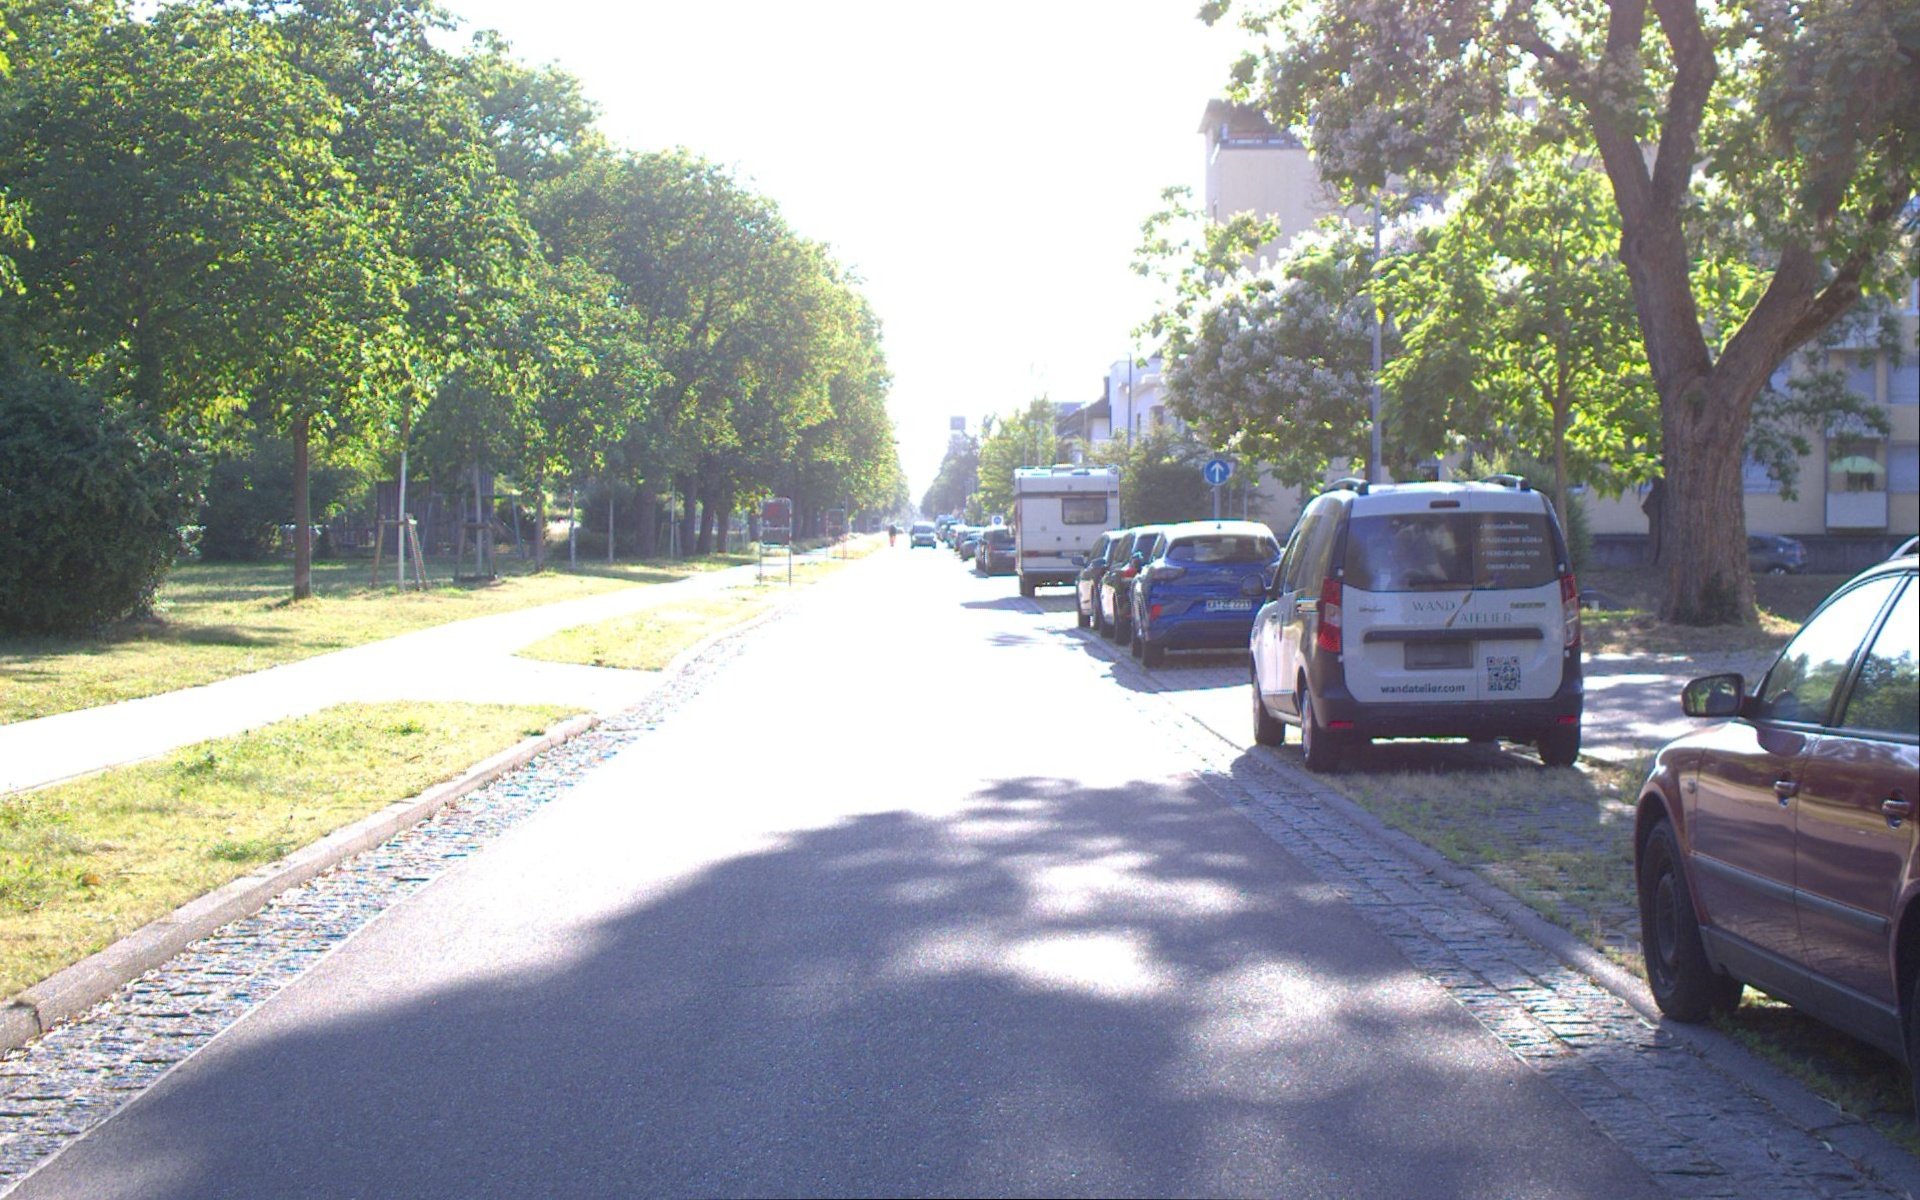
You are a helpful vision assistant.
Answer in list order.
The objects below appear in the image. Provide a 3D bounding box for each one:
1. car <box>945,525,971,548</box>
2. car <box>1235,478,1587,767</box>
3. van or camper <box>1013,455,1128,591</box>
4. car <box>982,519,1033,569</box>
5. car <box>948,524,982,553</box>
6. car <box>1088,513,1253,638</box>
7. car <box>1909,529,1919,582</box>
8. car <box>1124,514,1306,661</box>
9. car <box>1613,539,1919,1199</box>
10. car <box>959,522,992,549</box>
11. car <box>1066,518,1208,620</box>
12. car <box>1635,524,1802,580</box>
[{"bbox_3d":[-0.136,-4.045,218.538,1.626,1.405,4.250,0,1,-1],"label":"car"},{"bbox_3d":[2.890,0.098,22.909,1.678,1.734,4.514,0,1,-1],"label":"car"},{"bbox_3d":[2.390,-1.643,75.876,2.234,2.894,5.673,0,0,-1],"label":"van or camper"},{"bbox_3d":[1.604,-1.904,117.161,1.626,1.663,4.250,0,1,-1],"label":"car"},{"bbox_3d":[0.244,-3.062,170.794,1.626,1.405,4.250,0,1,-1],"label":"car"},{"bbox_3d":[2.683,-0.339,44.579,1.731,1.545,4.423,0,1,-2],"label":"car"},{"bbox_3d":[26.652,-1.148,88.435,4.199,1.353,1.691,0,1,20],"label":"car"},{"bbox_3d":[2.786,-0.169,38.329,1.732,1.545,4.276,0,1,0],"label":"car"},{"bbox_3d":[2.977,0.585,8.645,1.678,1.481,4.810,0,1,-1],"label":"car"},{"bbox_3d":[0.804,-3.432,182.066,1.626,1.405,4.250,0,1,-1],"label":"car"},{"bbox_3d":[2.592,-0.477,51.162,1.626,1.459,4.250,0,1,-4],"label":"car"},{"bbox_3d":[19.930,-1.256,90.323,4.198,1.457,1.692,0,1,15],"label":"car"}]
